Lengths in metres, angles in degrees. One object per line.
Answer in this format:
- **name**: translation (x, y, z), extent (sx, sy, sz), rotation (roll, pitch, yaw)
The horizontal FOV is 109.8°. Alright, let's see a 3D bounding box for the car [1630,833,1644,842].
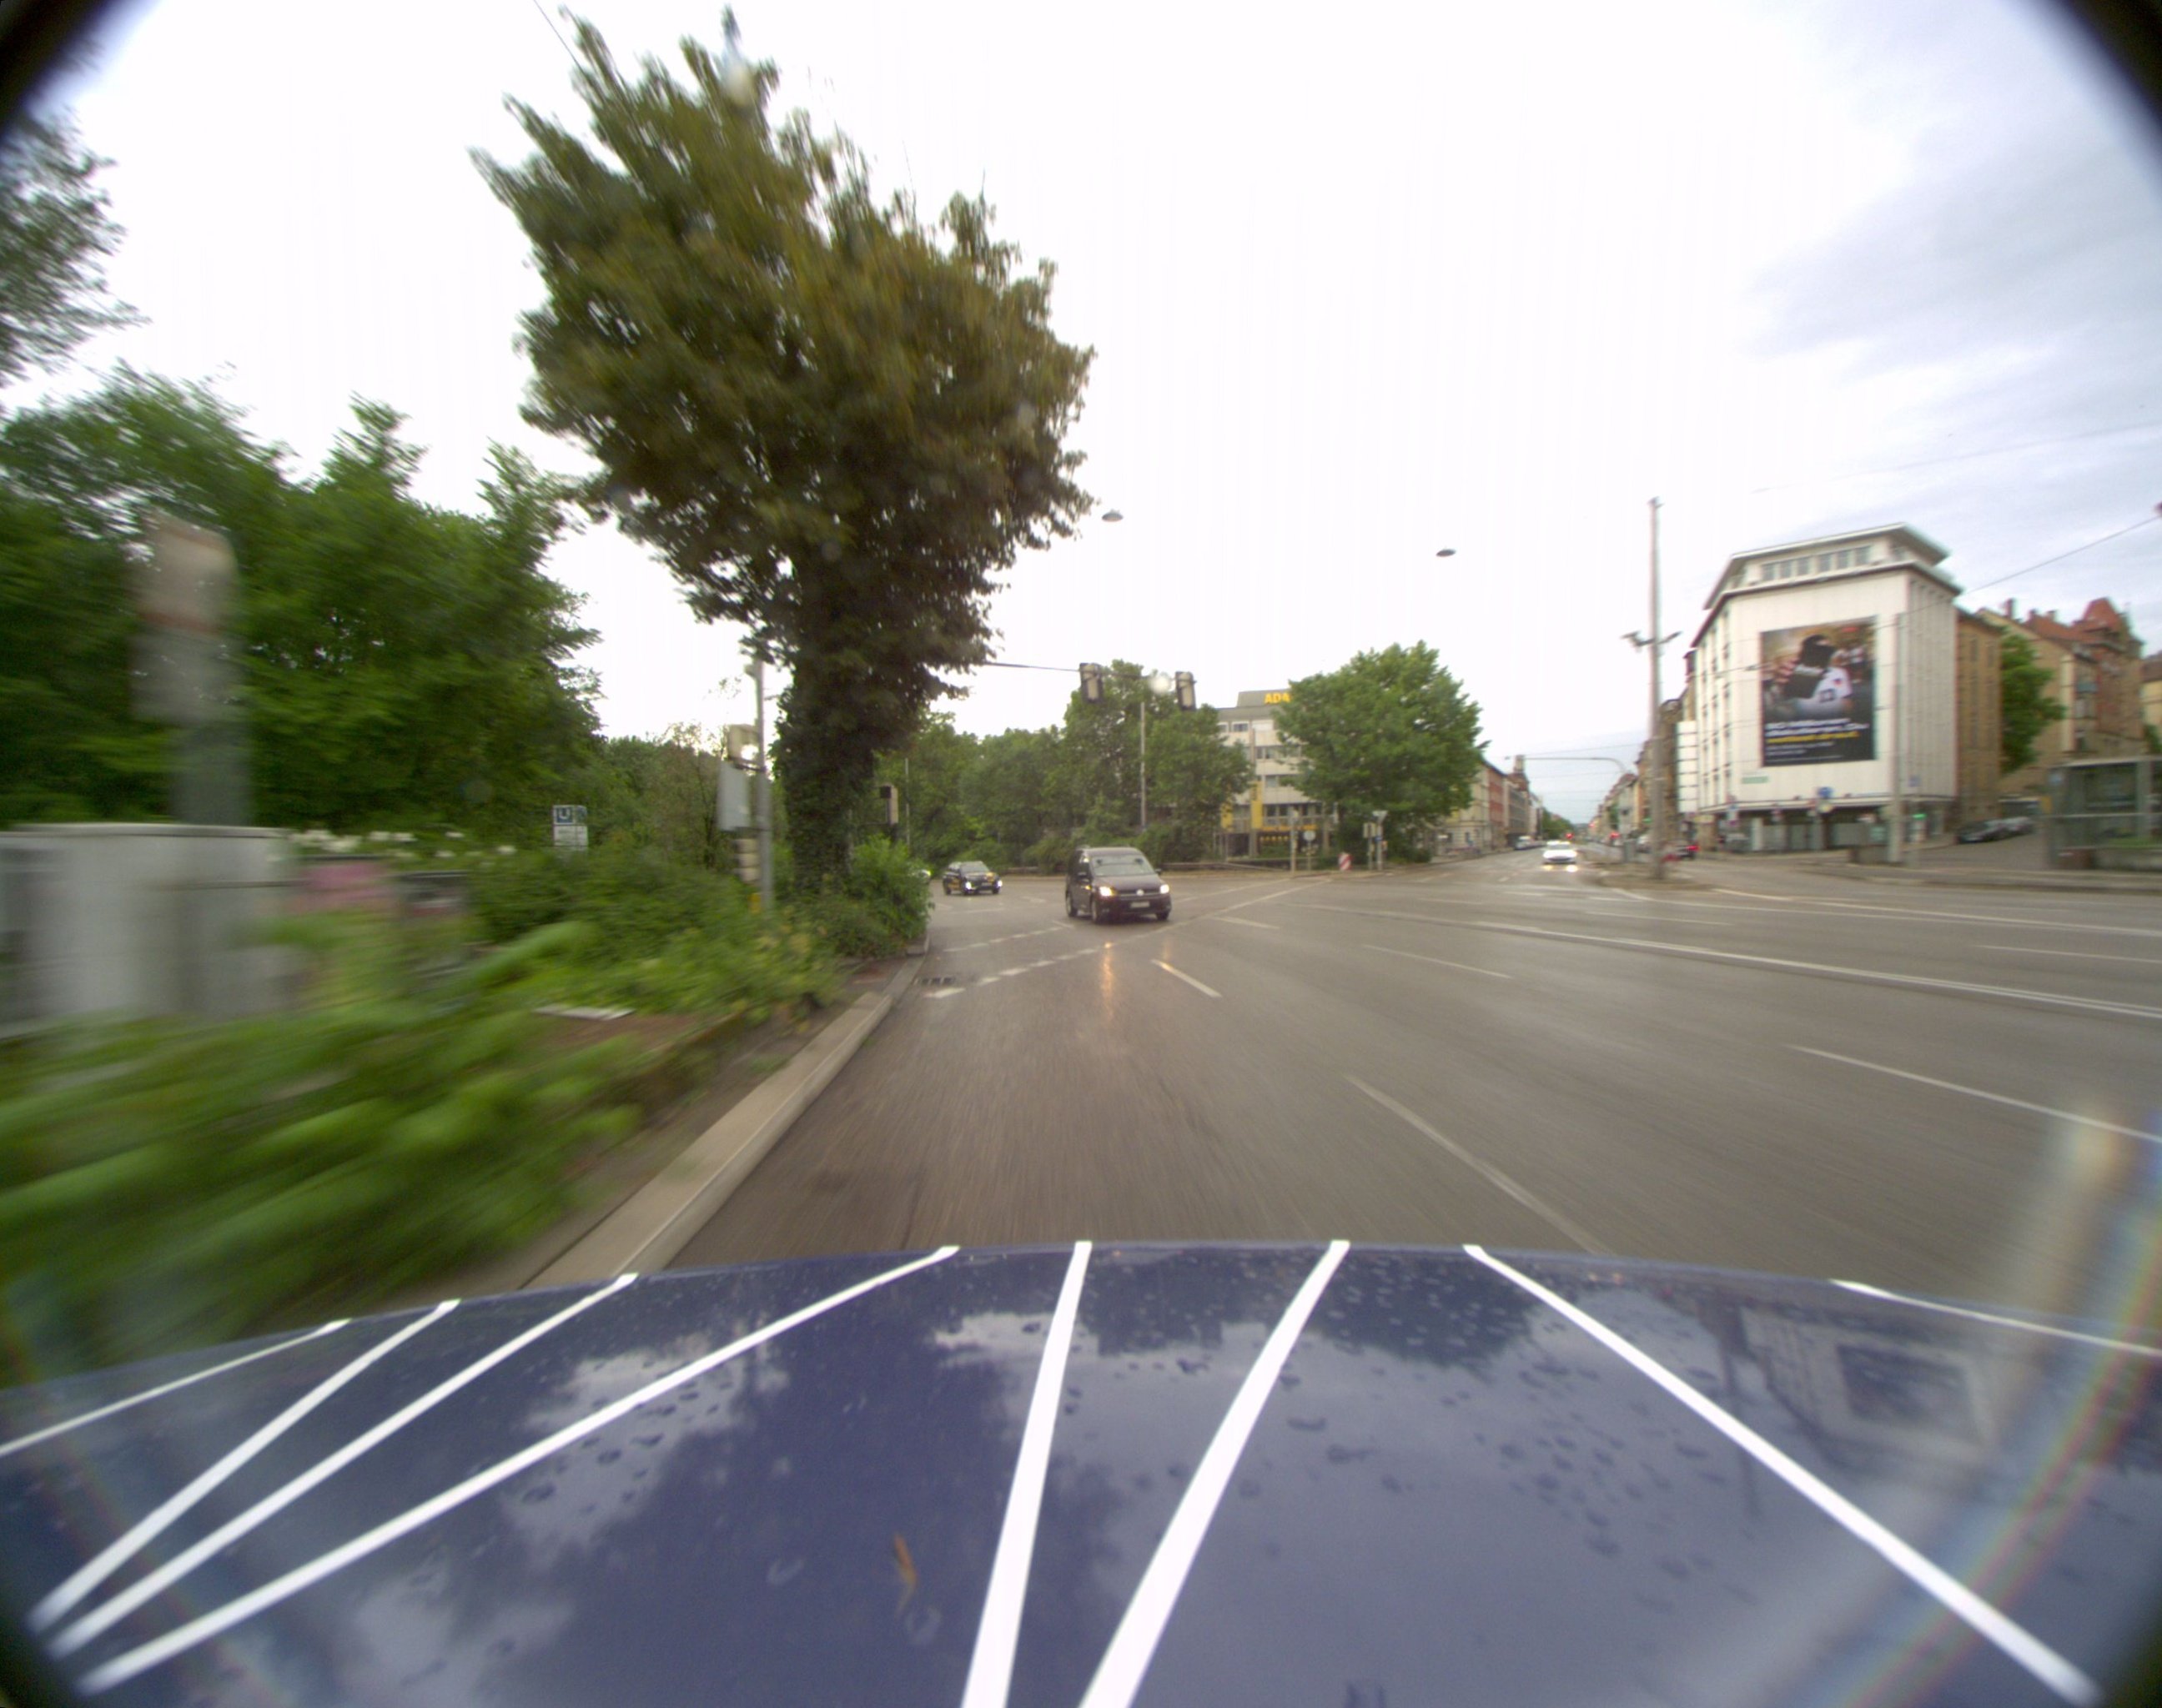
- **car**: translation (90.735, -2.723, 124.026), extent (1.776, 1.313, 3.685), rotation (0, 1, 36)

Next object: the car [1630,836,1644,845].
- **car**: translation (84.765, -2.115, 115.835), extent (1.776, 1.313, 3.685), rotation (0, 1, 37)

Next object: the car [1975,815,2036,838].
- **car**: translation (68.239, -2.039, 56.089), extent (4.005, 1.581, 1.914), rotation (-2, 1, -25)

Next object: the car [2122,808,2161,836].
- **car**: translation (64.806, -1.937, 45.765), extent (3.802, 1.581, 1.757), rotation (-2, 1, -25)

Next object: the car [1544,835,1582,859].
- **car**: translation (31.738, -0.479, 50.046), extent (1.995, 1.443, 4.236), rotation (0, 1, 33)

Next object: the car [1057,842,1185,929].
- **car**: translation (0.836, 0.706, 18.622), extent (1.797, 1.789, 4.120), rotation (-4, 0, -16)

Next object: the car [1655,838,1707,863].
- **car**: translation (45.577, -0.293, 57.807), extent (1.995, 1.833, 4.447), rotation (-1, 1, 23)

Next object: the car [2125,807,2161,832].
- **car**: translation (70.188, -2.231, 49.442), extent (4.005, 1.581, 1.914), rotation (-1, 1, -25)

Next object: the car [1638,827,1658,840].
- **car**: translation (68.705, -2.489, 92.049), extent (1.871, 1.569, 4.008), rotation (0, 1, 35)

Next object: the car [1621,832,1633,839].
- **car**: translation (102.557, -3.498, 142.816), extent (1.776, 1.313, 3.685), rotation (0, 1, 36)

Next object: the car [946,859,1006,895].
- **car**: translation (-5.193, 1.064, 37.030), extent (1.933, 1.532, 3.992), rotation (-3, 1, -22)

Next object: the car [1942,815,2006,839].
- **car**: translation (62.618, -1.901, 53.289), extent (4.005, 1.581, 1.914), rotation (-2, 1, -25)

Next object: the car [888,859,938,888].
- **car**: translation (-11.419, 1.292, 51.415), extent (2.003, 1.735, 4.643), rotation (-2, 1, -29)

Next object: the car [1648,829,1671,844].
- **car**: translation (63.404, -1.928, 83.270), extent (1.871, 1.569, 4.008), rotation (0, 1, 35)
